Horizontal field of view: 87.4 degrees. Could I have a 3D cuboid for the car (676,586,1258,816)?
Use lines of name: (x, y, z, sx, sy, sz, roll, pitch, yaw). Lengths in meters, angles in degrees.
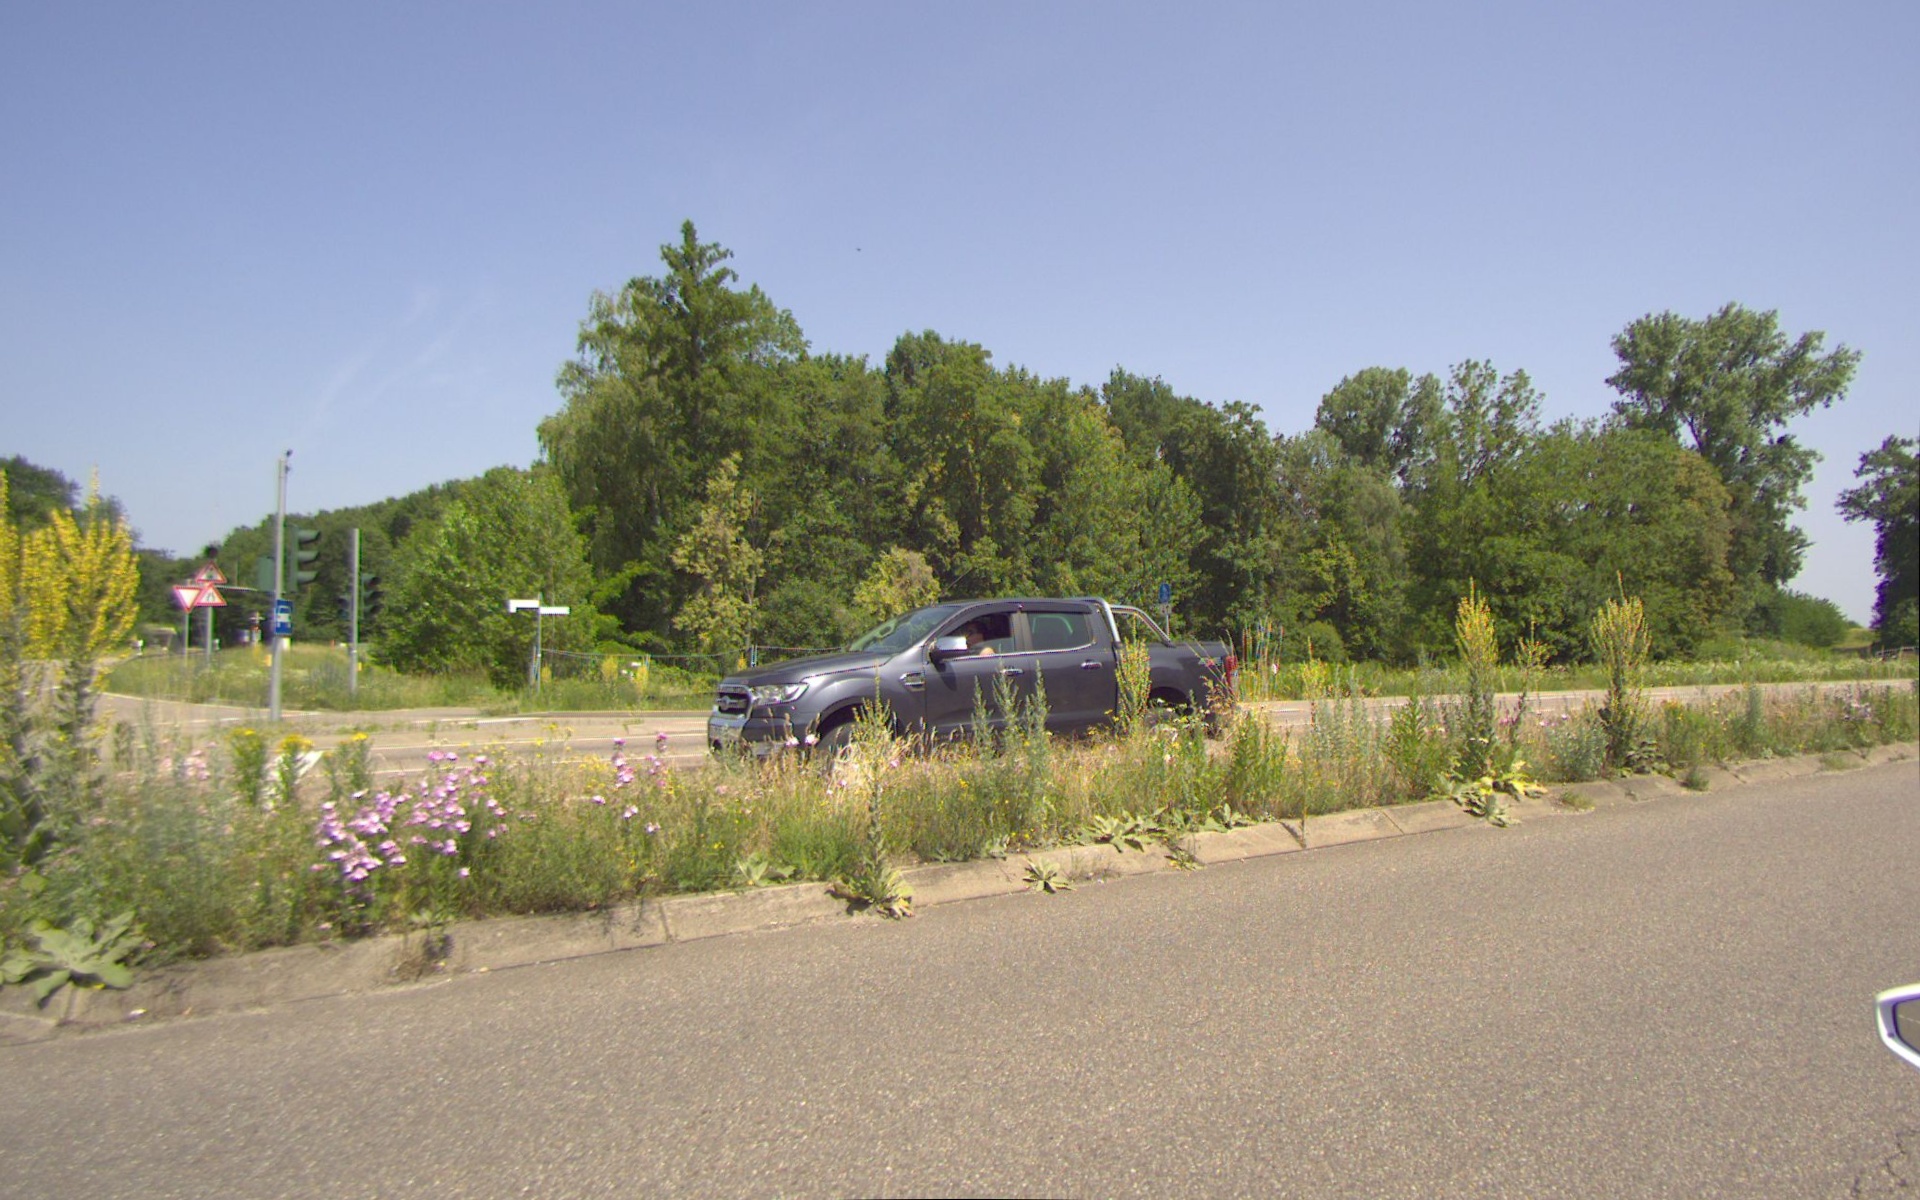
car: (0.179, 0.840, 9.610, 5.300, 1.699, 1.985, 1, -3, -29)
